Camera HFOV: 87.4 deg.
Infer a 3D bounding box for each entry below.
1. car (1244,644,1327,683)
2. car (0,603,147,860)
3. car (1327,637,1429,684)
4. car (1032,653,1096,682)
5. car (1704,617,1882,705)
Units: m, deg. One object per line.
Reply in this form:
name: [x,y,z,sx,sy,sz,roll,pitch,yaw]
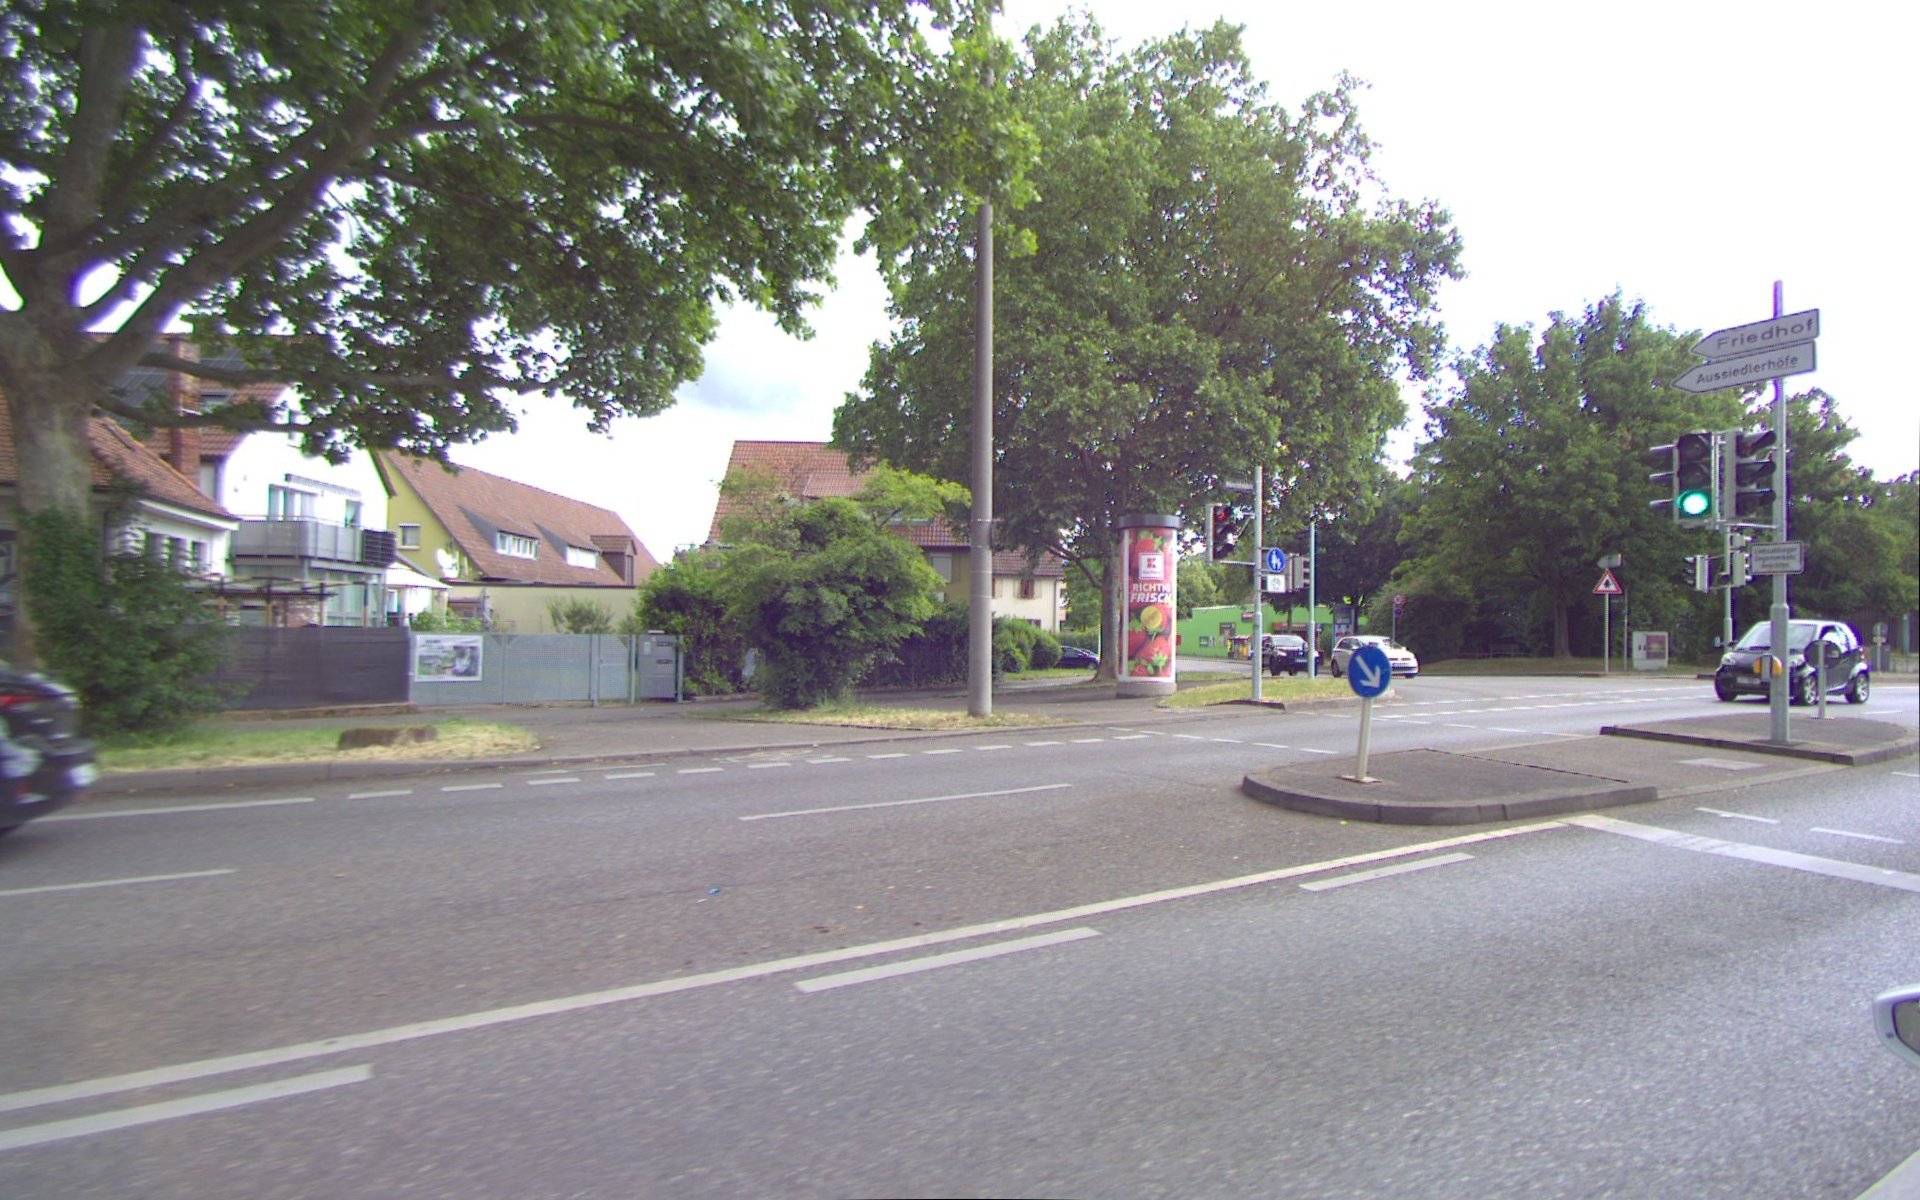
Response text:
car: [14.139,2.742,43.898,1.962,1.566,4.268,1,-2,-4]
car: [-6.961,0.735,5.340,3.906,1.400,1.560,1,-3,-32]
car: [14.243,2.025,34.416,1.790,1.499,3.855,1,-2,-2]
car: [6.226,4.067,60.371,3.659,1.585,1.764,1,-1,1]
car: [16.059,1.121,19.351,3.148,1.547,1.562,1,-1,-28]
